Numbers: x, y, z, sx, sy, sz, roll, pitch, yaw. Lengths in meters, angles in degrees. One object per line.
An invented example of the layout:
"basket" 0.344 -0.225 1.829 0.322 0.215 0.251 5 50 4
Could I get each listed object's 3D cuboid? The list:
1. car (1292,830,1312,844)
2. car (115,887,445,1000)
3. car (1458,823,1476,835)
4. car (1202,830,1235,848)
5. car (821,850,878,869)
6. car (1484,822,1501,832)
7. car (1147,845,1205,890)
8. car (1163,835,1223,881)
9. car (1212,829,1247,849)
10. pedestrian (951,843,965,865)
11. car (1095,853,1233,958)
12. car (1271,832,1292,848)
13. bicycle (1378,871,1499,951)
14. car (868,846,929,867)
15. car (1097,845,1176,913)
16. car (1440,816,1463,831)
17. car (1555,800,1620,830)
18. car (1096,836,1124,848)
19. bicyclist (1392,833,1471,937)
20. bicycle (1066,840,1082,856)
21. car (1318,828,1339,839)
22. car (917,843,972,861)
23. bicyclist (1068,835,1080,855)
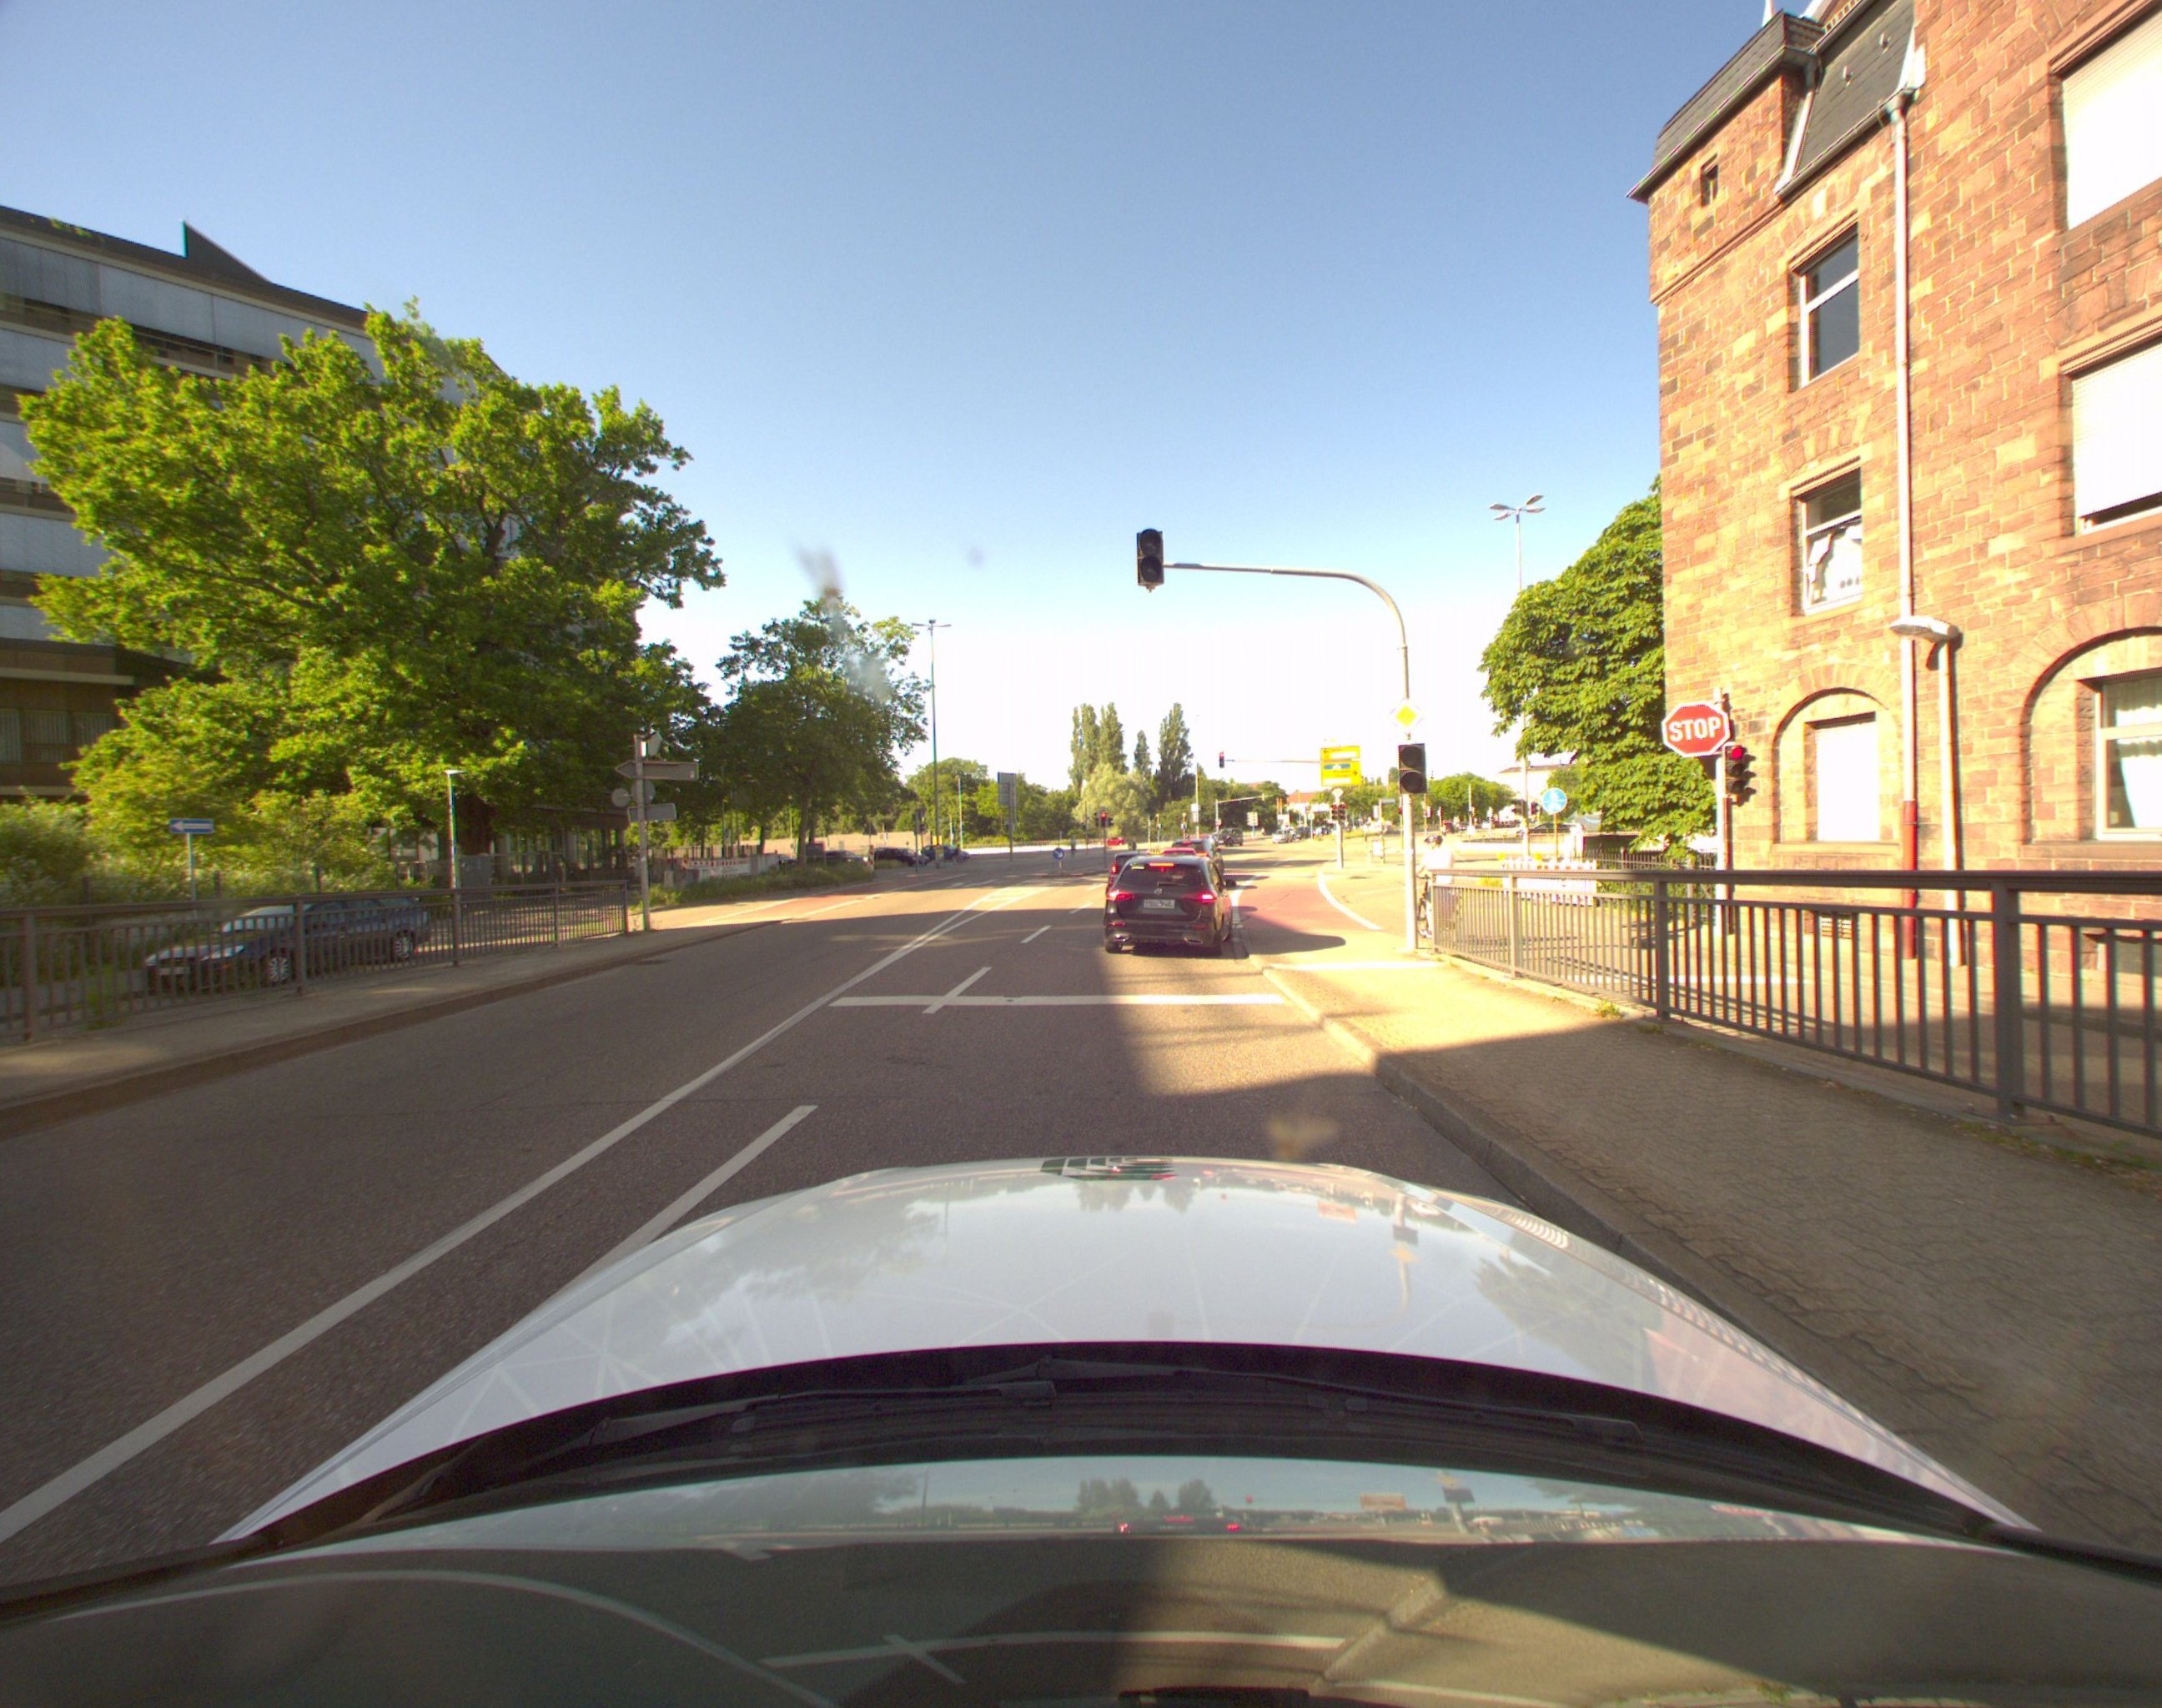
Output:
"car" 27.514 -2.158 101.335 1.707 1.582 4.027 -1 1 25
"car" -14.894 1.562 15.604 1.814 1.503 4.451 -2 1 0
"car" 60.666 -3.962 127.919 1.974 1.793 4.026 -2 1 33
"car" 15.640 -1.750 92.495 1.974 1.864 4.883 -1 1 31
"car" -18.709 0.447 65.754 4.394 1.438 1.838 -2 1 30
"car" 72.643 -4.765 143.660 1.974 1.640 4.026 -2 1 36
"car" 3.505 0.422 29.364 1.809 1.479 4.012 0 1 10
"car" 4.848 0.128 34.756 1.854 1.790 4.434 0 2 17
"car" 15.524 -1.602 85.034 1.974 1.935 4.883 -1 1 31
"pedestrian" -9.348 0.000 61.823 0.683 1.538 1.368 -1 -4 6
"car" 1.538 0.751 13.670 1.738 1.494 4.015 -1 -1 14
"car" 22.591 -1.600 91.615 1.805 1.582 4.125 -2 1 20
"bicycle" 5.968 0.898 13.775 0.798 1.110 2.397 -1 1 -6
"car" -13.805 0.191 61.636 4.394 1.438 1.838 -2 1 30
"car" 1.423 0.565 21.130 1.812 1.489 4.004 -2 1 3
"car" 50.525 -4.086 110.960 1.974 1.794 4.025 -1 -1 38
"car" 49.658 -3.750 79.956 2.268 2.607 4.838 0 -1 -30
"car" 4.277 -1.749 119.963 3.979 1.548 1.998 -2 1 -4
"bicyclist" 5.970 0.494 13.929 0.798 1.705 1.083 1 1 -7
"bicycle" -0.569 -0.528 70.065 0.681 1.202 2.337 -1 2 16
"car" 33.950 -2.804 111.618 1.974 1.453 4.025 -1 1 29
"car" -11.987 -0.159 71.436 4.395 1.438 1.837 -2 1 26
"bicyclist" -0.606 -0.798 69.960 0.682 1.701 1.203 -1 2 16
